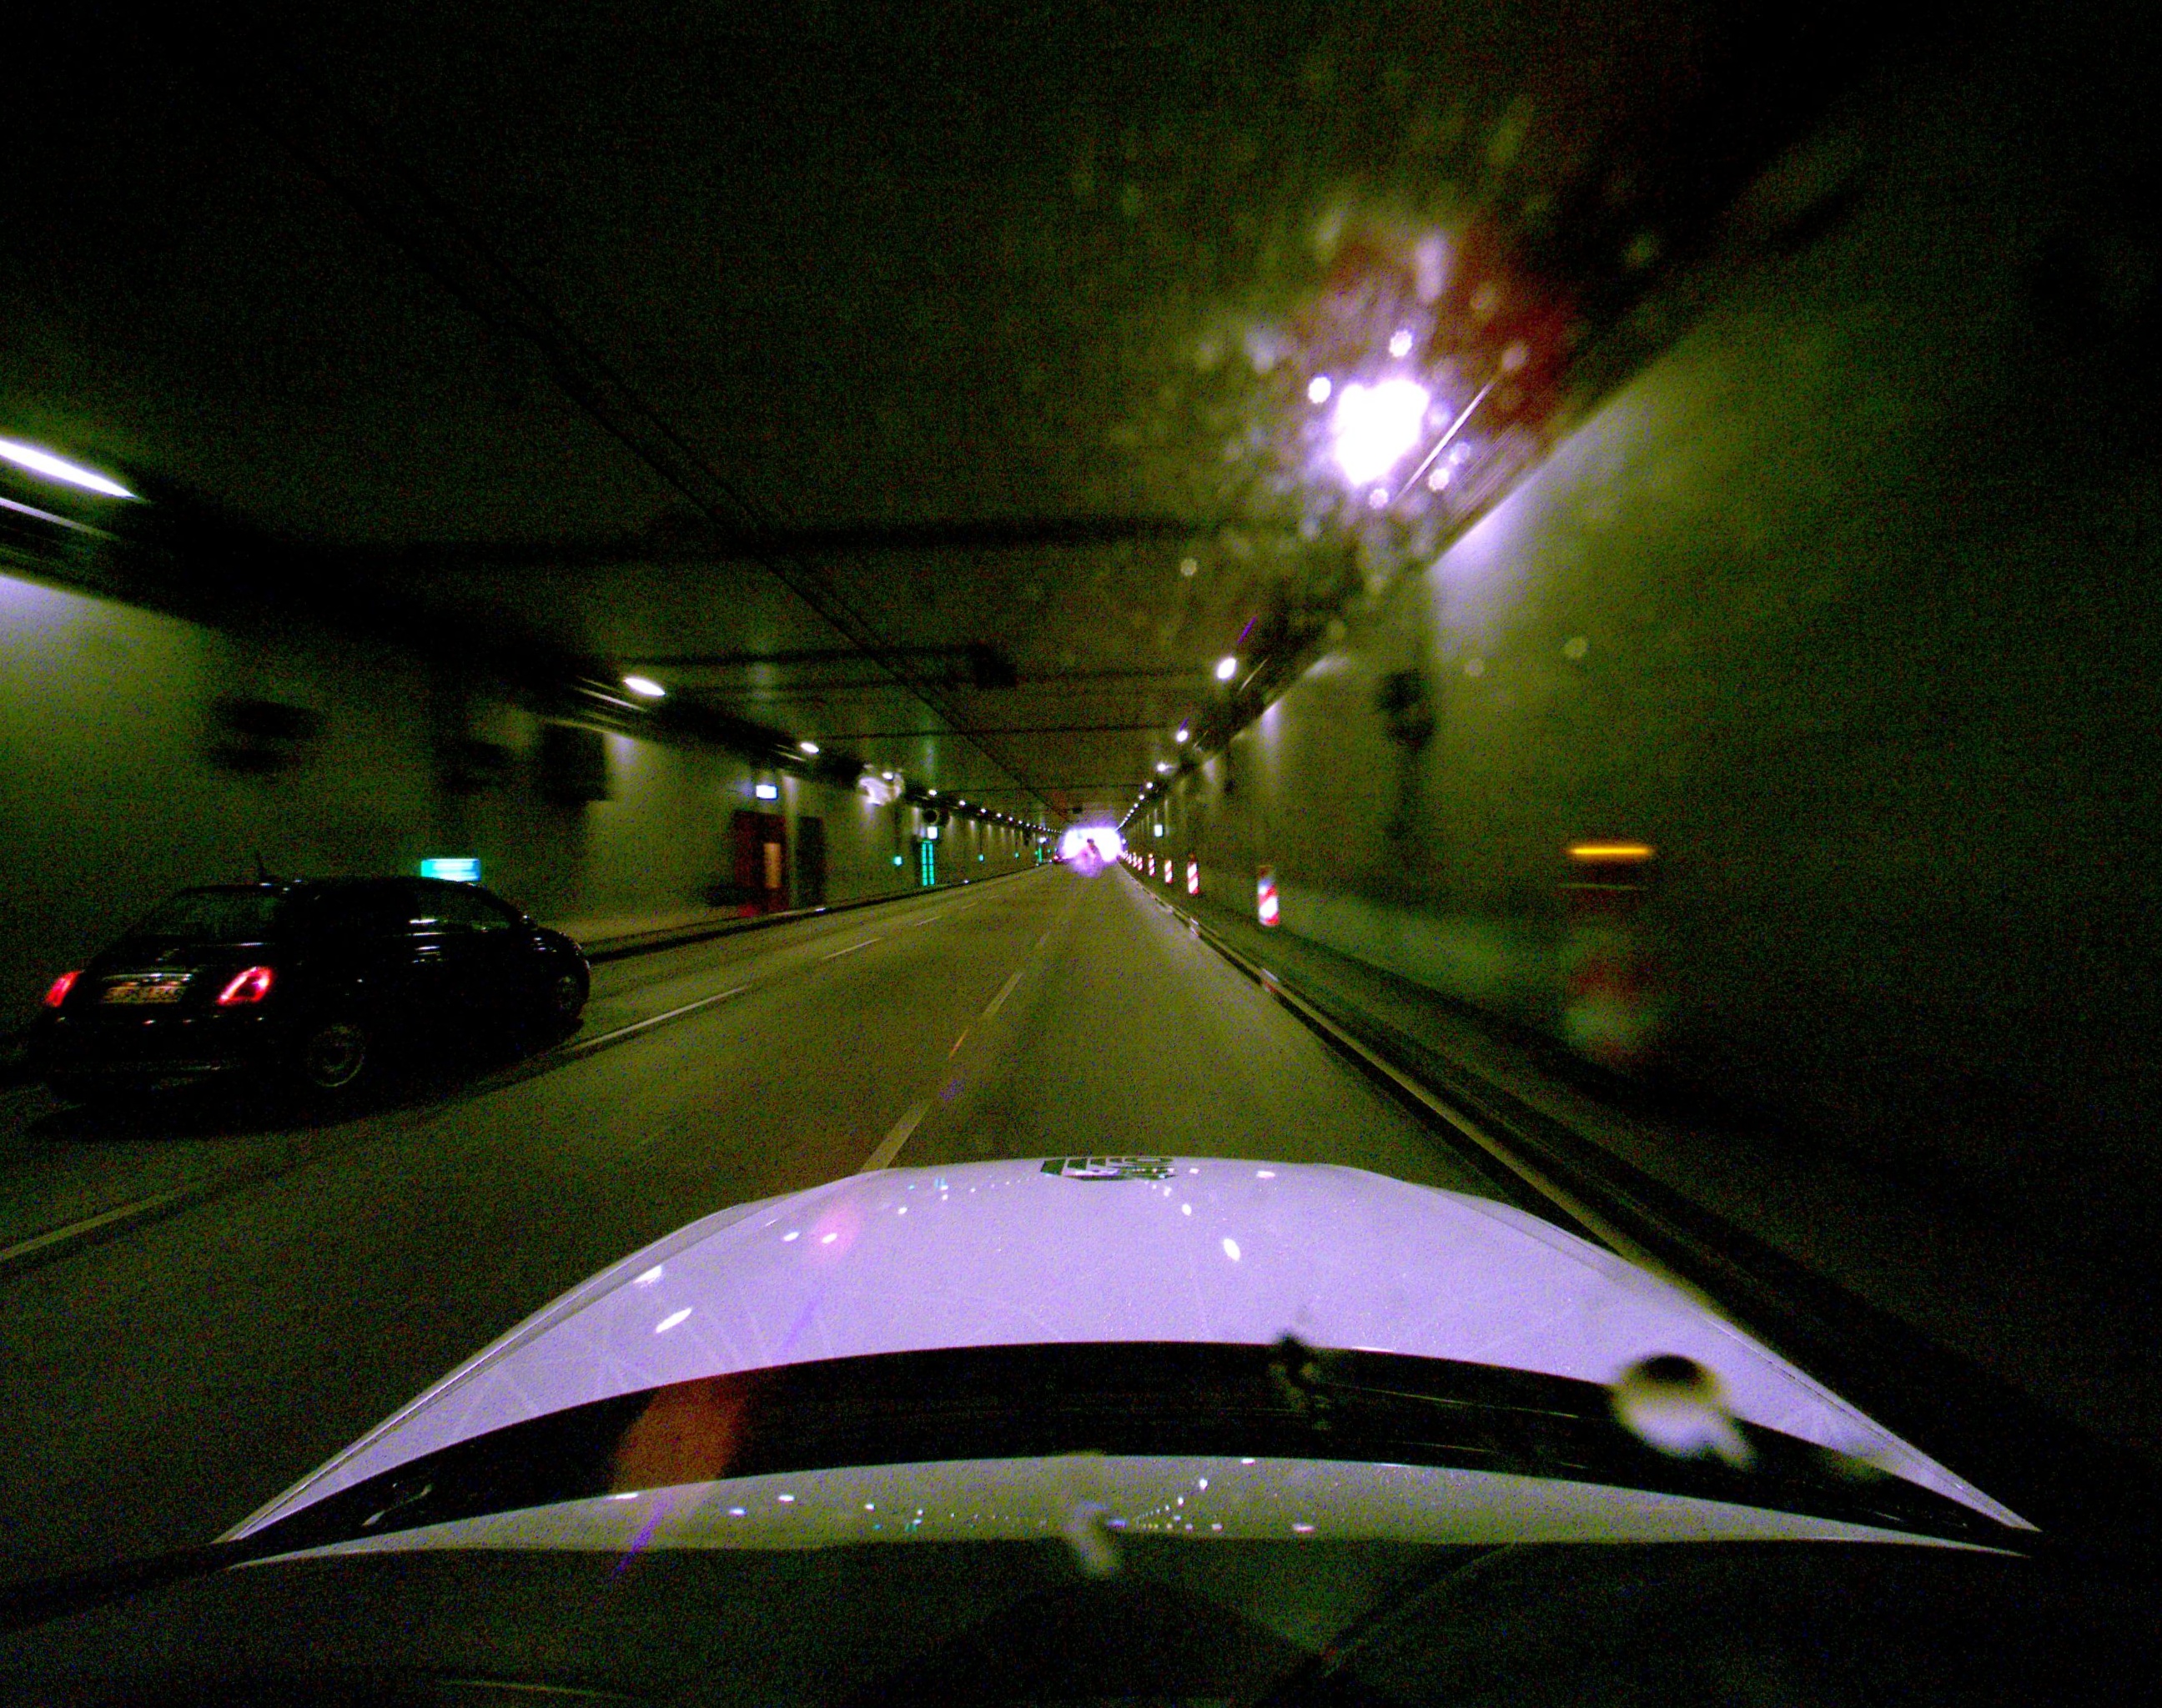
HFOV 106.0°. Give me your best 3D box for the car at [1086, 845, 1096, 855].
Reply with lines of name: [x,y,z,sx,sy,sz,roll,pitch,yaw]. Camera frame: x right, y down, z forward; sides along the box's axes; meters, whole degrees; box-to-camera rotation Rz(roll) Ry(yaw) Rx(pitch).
car: [2.176,-0.809,169.973,1.986,2.014,4.002,0,0,2]

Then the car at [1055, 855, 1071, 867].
car: [-2.358,0.900,106.937,1.988,1.448,4.311,1,0,-2]

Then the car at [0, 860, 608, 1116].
car: [-5.717,0.800,6.565,1.606,1.454,3.574,1,0,2]

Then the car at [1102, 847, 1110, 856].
car: [5.764,-0.632,186.757,1.986,2.014,4.002,0,0,2]
